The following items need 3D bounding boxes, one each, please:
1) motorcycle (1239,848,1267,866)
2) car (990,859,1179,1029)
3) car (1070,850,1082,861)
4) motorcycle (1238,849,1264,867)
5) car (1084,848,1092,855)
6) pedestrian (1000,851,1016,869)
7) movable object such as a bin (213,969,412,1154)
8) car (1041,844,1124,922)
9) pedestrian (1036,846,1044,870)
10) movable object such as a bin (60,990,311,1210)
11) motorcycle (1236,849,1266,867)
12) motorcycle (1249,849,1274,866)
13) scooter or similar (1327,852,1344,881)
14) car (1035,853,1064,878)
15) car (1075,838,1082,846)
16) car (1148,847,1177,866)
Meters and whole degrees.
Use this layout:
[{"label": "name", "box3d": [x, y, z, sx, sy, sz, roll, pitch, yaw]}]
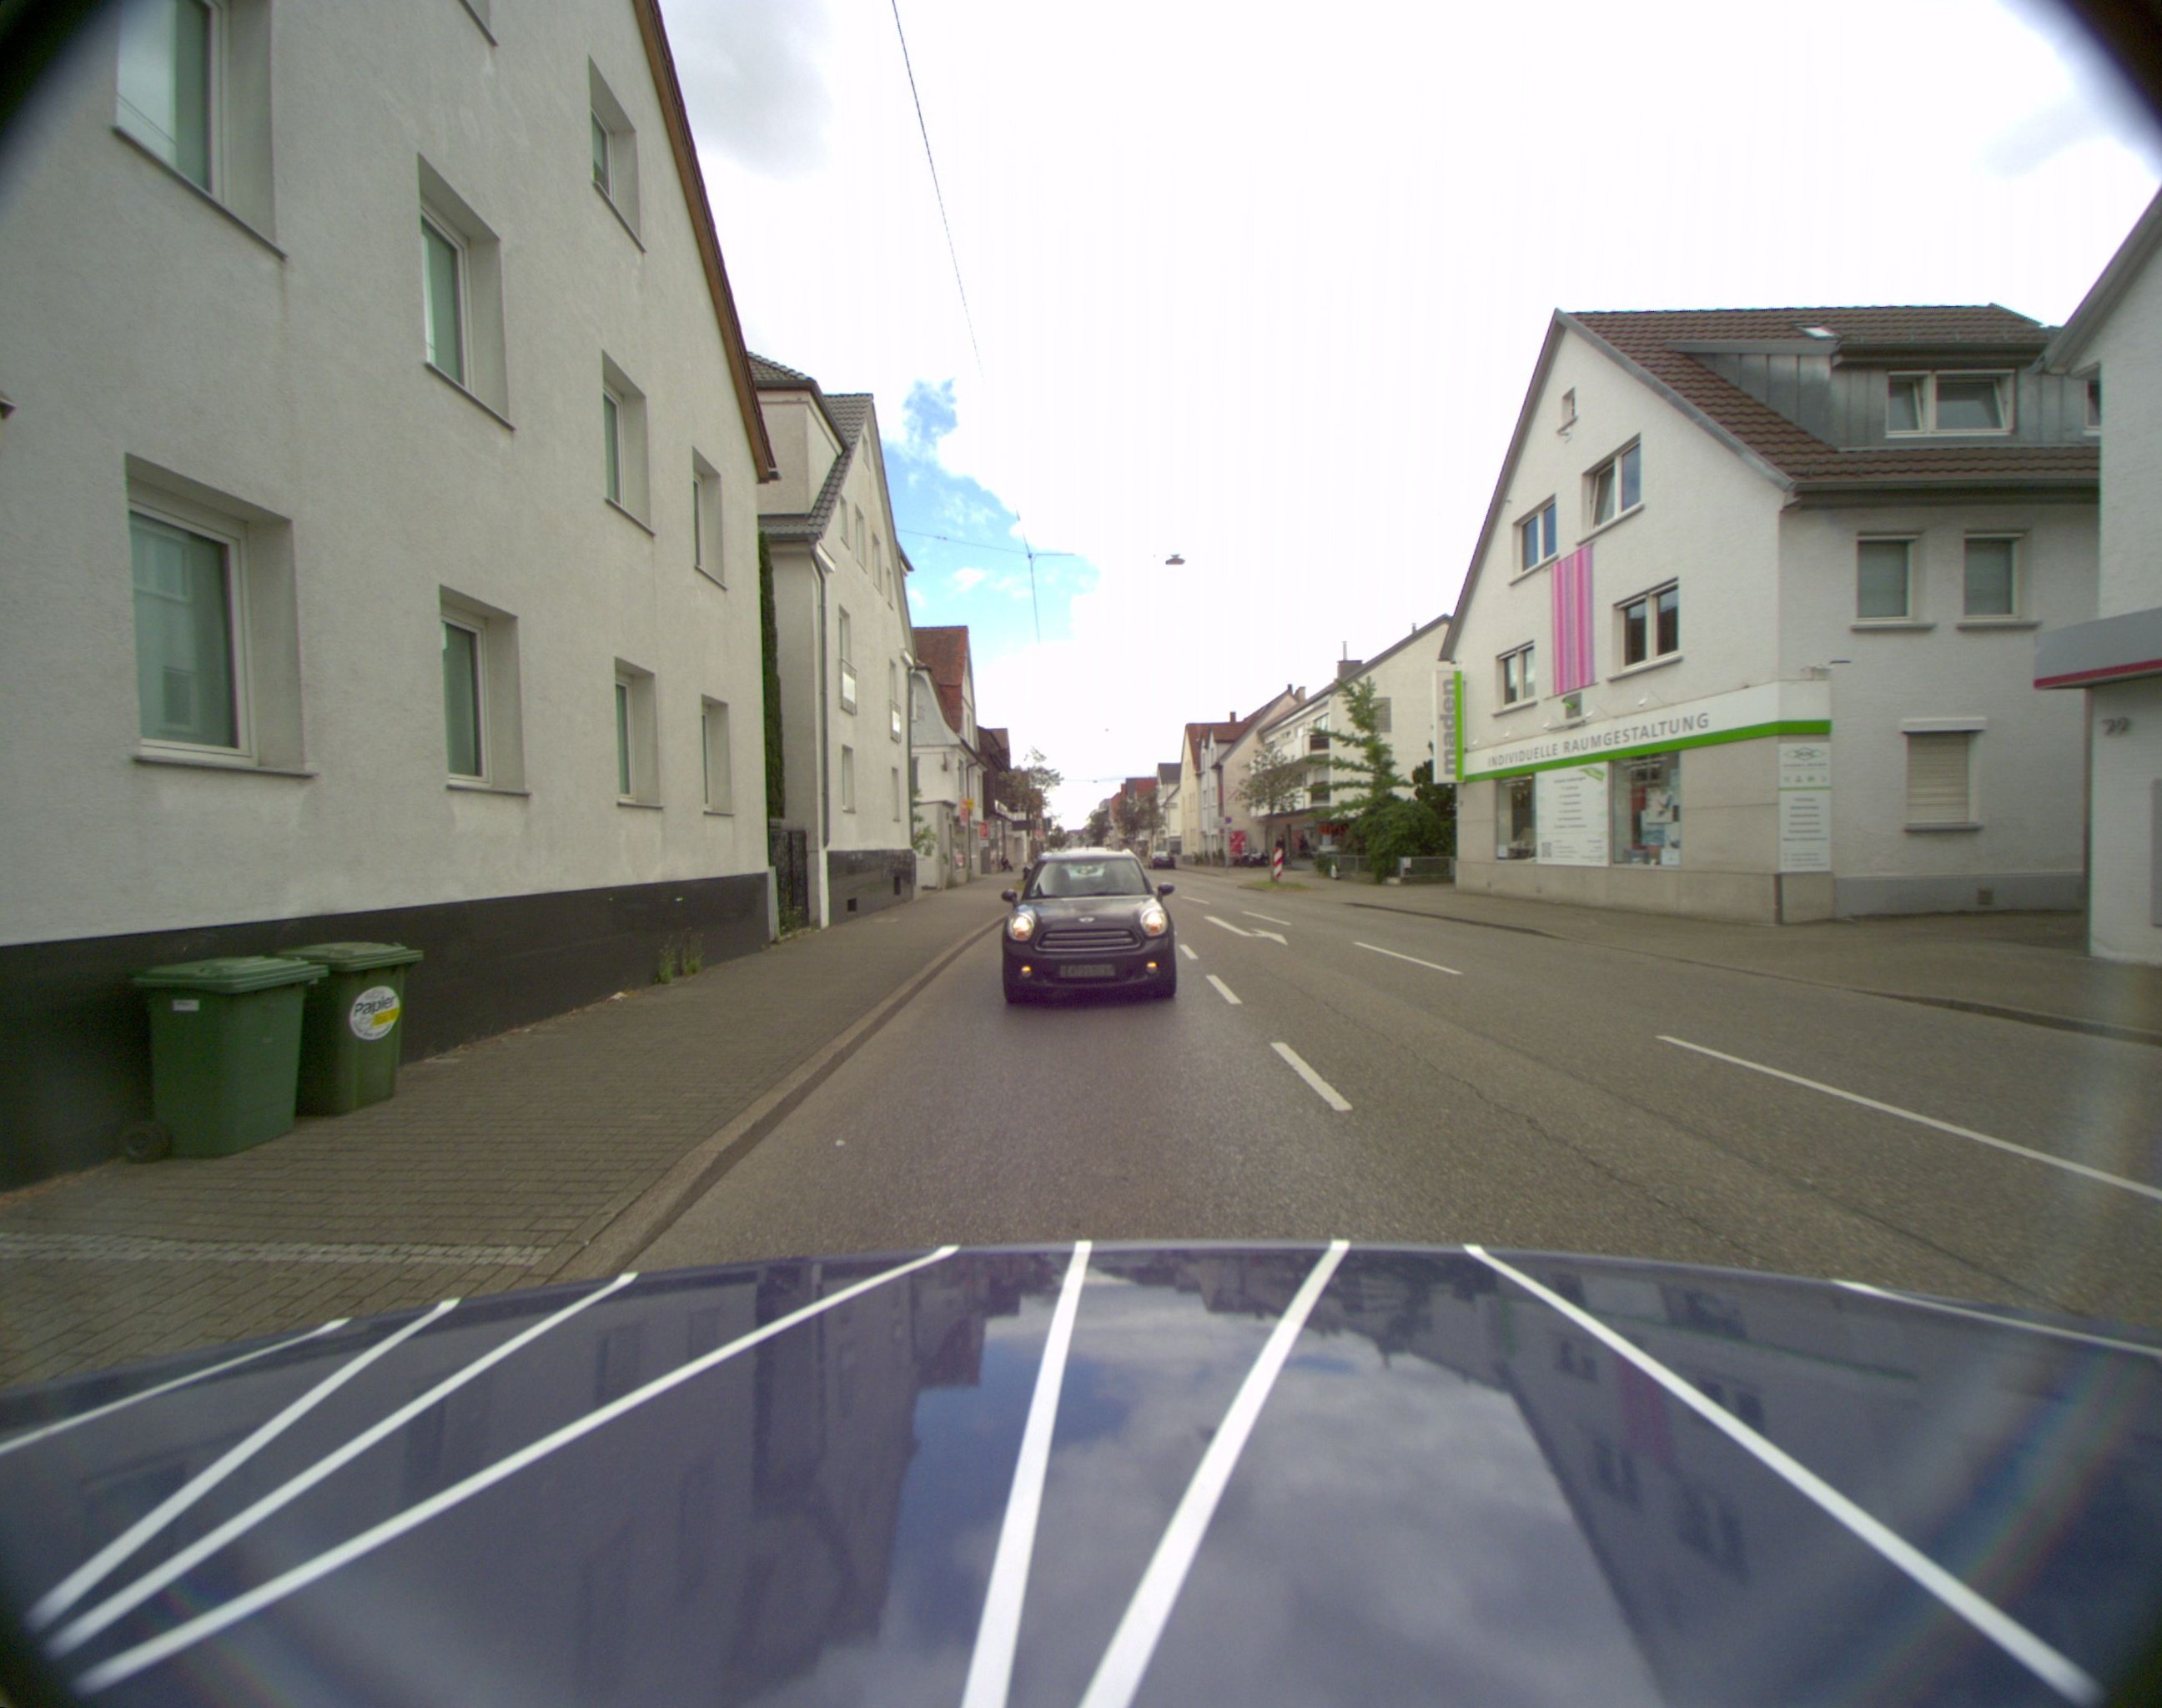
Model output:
[{"label": "motorcycle", "box3d": [11.476, 0.226, 50.806, 1.678, 1.099, 0.558, -3, 1, 0]}, {"label": "car", "box3d": [0.055, 0.839, 8.987, 1.693, 1.506, 4.000, -2, 0, 1]}, {"label": "car", "box3d": [-0.766, 0.192, 119.539, 1.846, 1.510, 3.999, -3, 1, 0]}, {"label": "motorcycle", "box3d": [10.962, 0.274, 49.086, 1.515, 1.099, 0.589, -3, 1, 6]}, {"label": "car", "box3d": [1.661, -0.683, 180.110, 1.846, 1.510, 3.999, -3, 1, 0]}, {"label": "pedestrian", "box3d": [-5.290, 0.424, 55.135, 0.982, 1.272, 0.667, 0, 1, 12]}, {"label": "movable object such as a bin", "box3d": [-4.278, 1.135, 4.265, 0.565, 0.898, 0.519, 0, 1, 0]}, {"label": "car", "box3d": [-0.009, 0.620, 19.433, 1.811, 1.556, 4.616, -3, 2, -1]}, {"label": "pedestrian", "box3d": [-3.002, 0.304, 55.825, 0.497, 1.744, 0.451, -1, 1, 1]}, {"label": "movable object such as a bin", "box3d": [-4.282, 1.153, 3.671, 0.565, 0.898, 0.519, 0, 1, 0]}, {"label": "motorcycle", "box3d": [11.173, 0.251, 50.025, 1.834, 1.099, 0.505, -3, 1, 0]}, {"label": "motorcycle", "box3d": [11.482, 0.241, 48.287, 1.429, 1.017, 0.525, -3, 1, 0]}, {"label": "scooter or similar", "box3d": [10.287, 0.490, 30.709, 0.465, 1.117, 1.829, -2, 0, 14]}, {"label": "car", "box3d": [-2.102, 0.754, 51.233, 1.846, 1.510, 3.998, -3, 1, -2]}, {"label": "car", "box3d": [-0.686, -3.591, 228.356, 1.951, 2.117, 4.321, 0, 1, -3]}, {"label": "car", "box3d": [6.344, 0.199, 59.269, 1.634, 1.404, 3.998, 0, 0, -3]}]
